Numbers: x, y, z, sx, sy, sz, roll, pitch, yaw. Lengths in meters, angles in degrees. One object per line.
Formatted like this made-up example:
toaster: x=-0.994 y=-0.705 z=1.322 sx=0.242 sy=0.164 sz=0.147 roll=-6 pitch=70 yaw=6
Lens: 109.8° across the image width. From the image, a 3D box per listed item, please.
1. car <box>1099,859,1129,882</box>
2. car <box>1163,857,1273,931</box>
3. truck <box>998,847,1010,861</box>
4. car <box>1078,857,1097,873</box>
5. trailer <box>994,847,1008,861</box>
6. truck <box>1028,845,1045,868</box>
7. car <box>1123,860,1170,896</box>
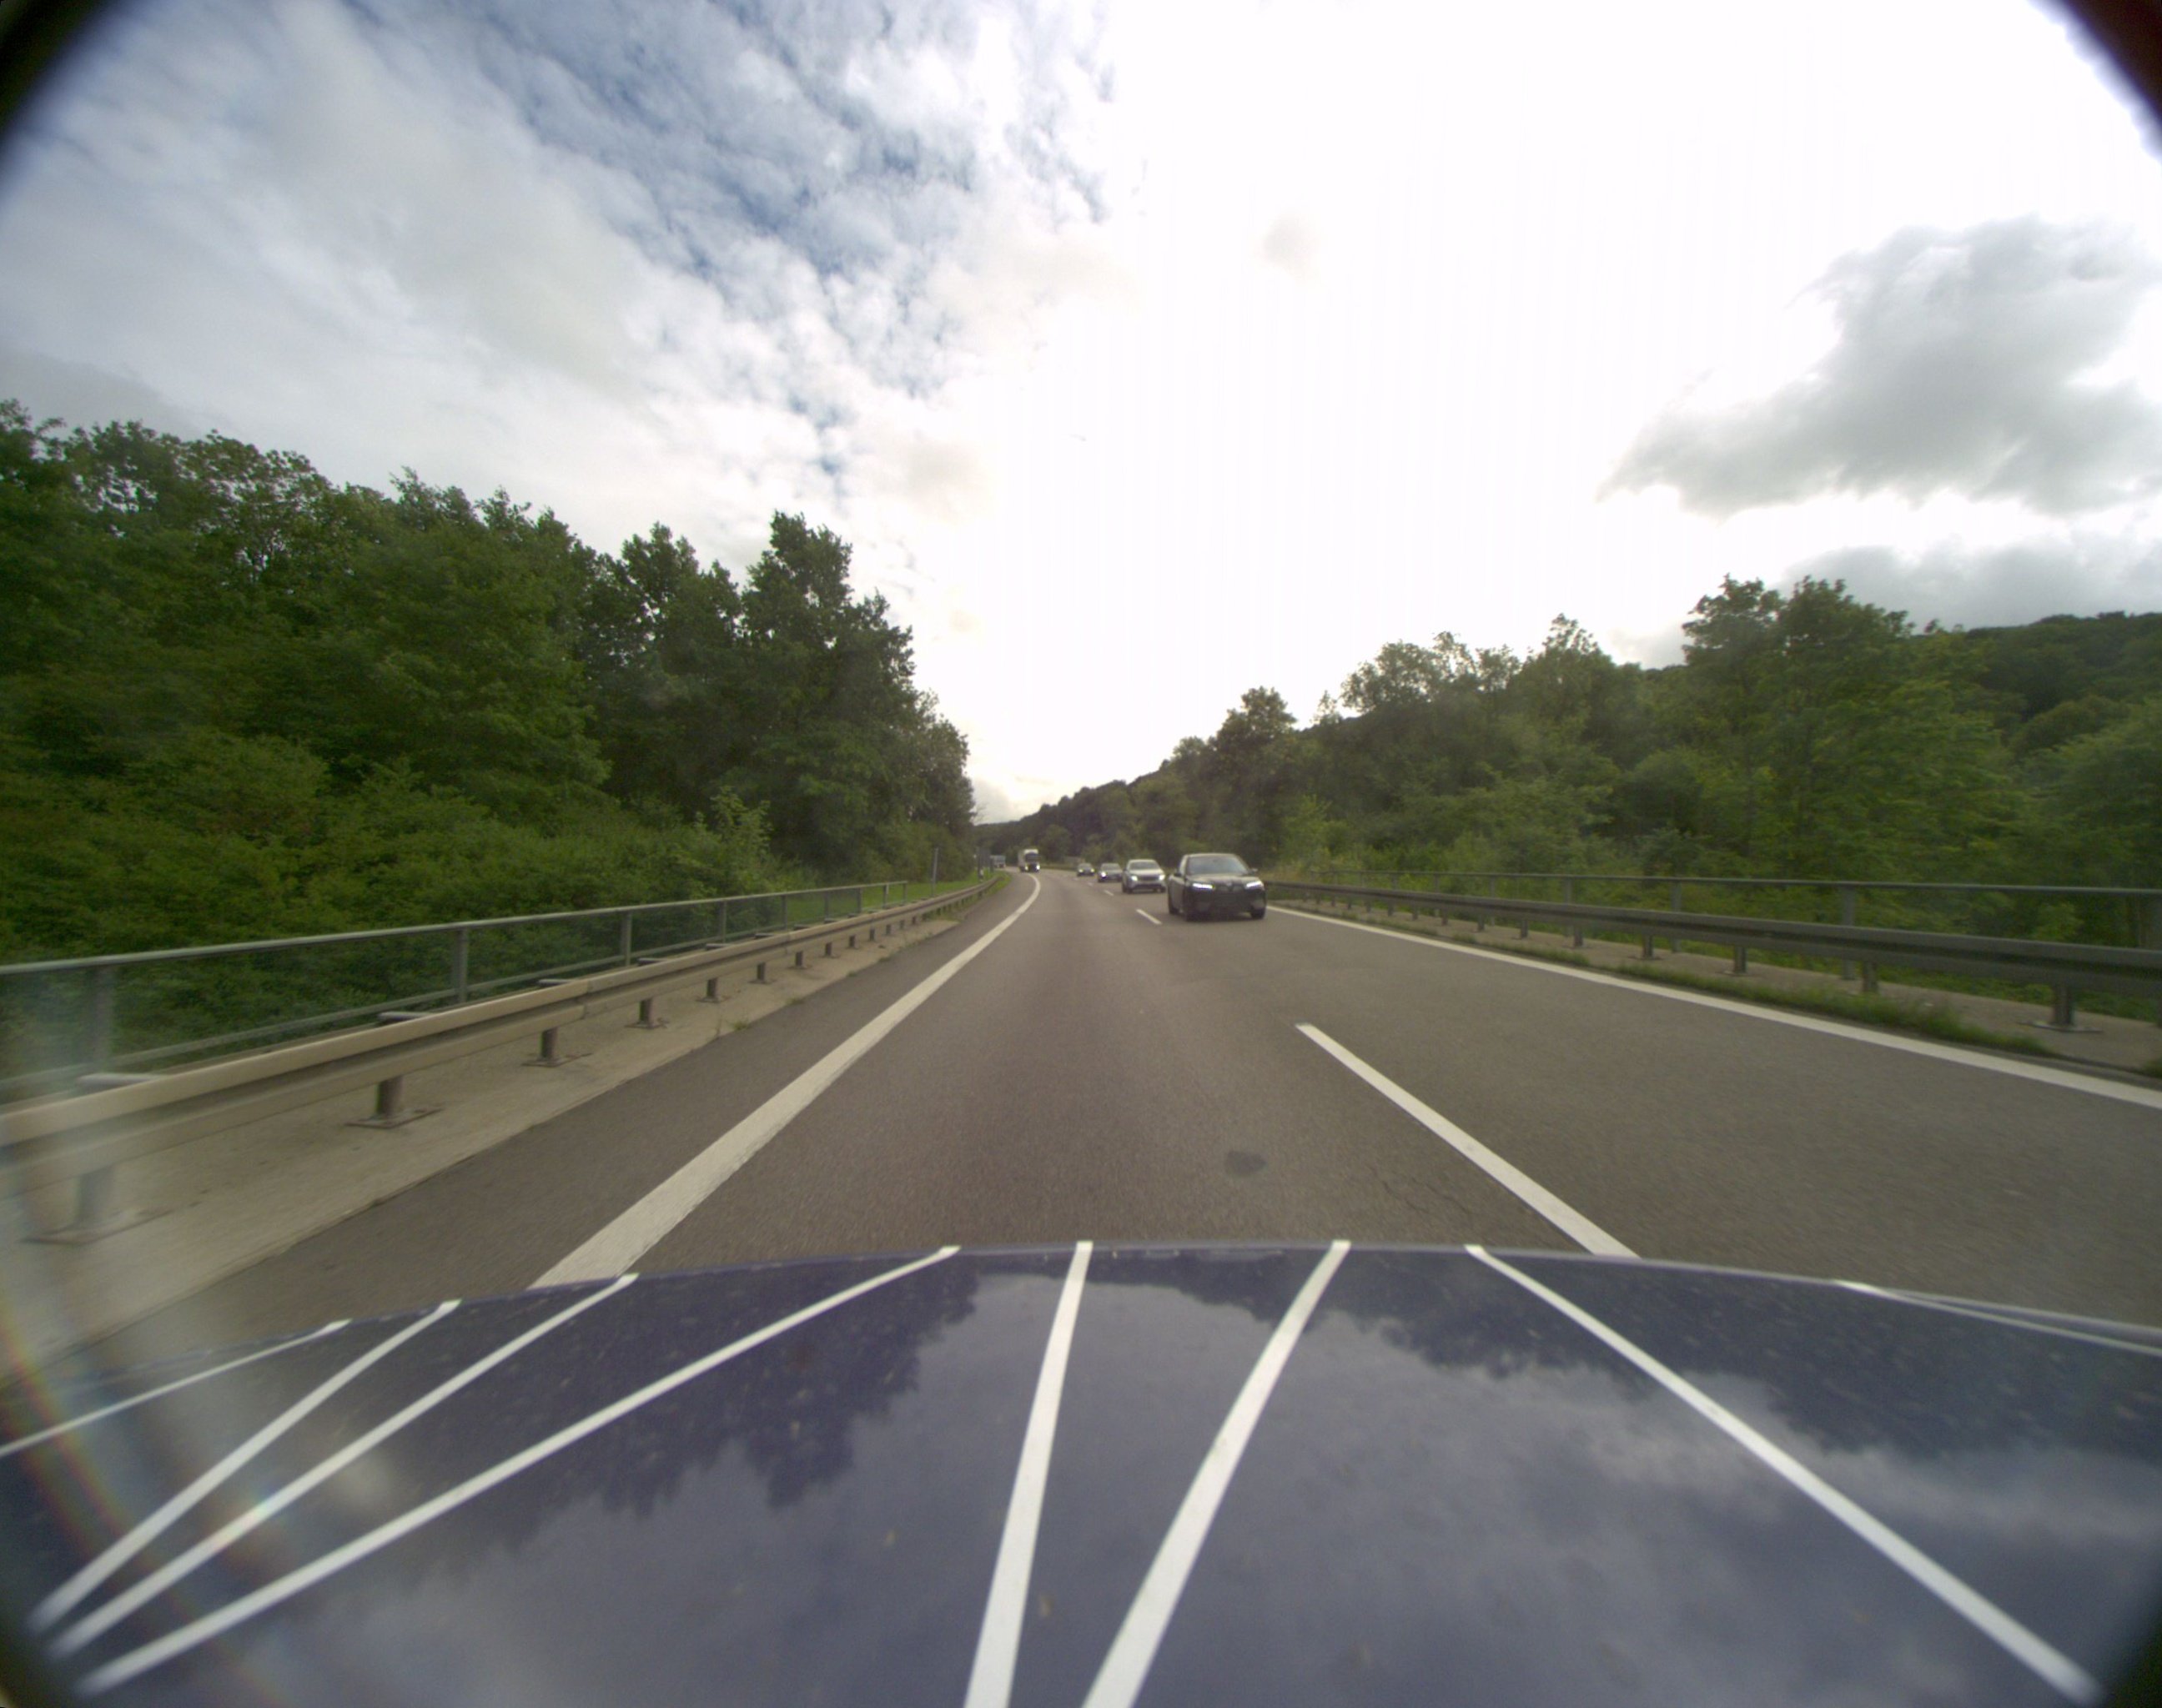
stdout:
car: x=2.607 y=1.299 z=60.497 sx=1.999 sy=1.656 sz=4.414 roll=-1 pitch=0 yaw=-2
car: x=3.479 y=0.948 z=20.146 sx=1.999 sy=1.656 sz=4.414 roll=-3 pitch=0 yaw=-1
truck: x=-21.940 y=-0.067 z=216.124 sx=2.798 sy=3.948 sz=5.933 roll=-1 pitch=0 yaw=-12
car: x=0.712 y=1.275 z=87.693 sx=1.999 sy=1.656 sz=4.413 roll=-1 pitch=1 yaw=-3
trailer: x=-23.416 y=-0.048 z=223.092 sx=2.789 sy=3.932 sz=11.284 roll=-1 pitch=0 yaw=-12
truck: x=-7.818 y=0.432 z=134.492 sx=2.796 sy=3.948 sz=5.939 roll=-1 pitch=0 yaw=-2
car: x=3.241 y=1.156 z=38.344 sx=1.998 sy=1.656 sz=4.415 roll=-1 pitch=0 yaw=0
